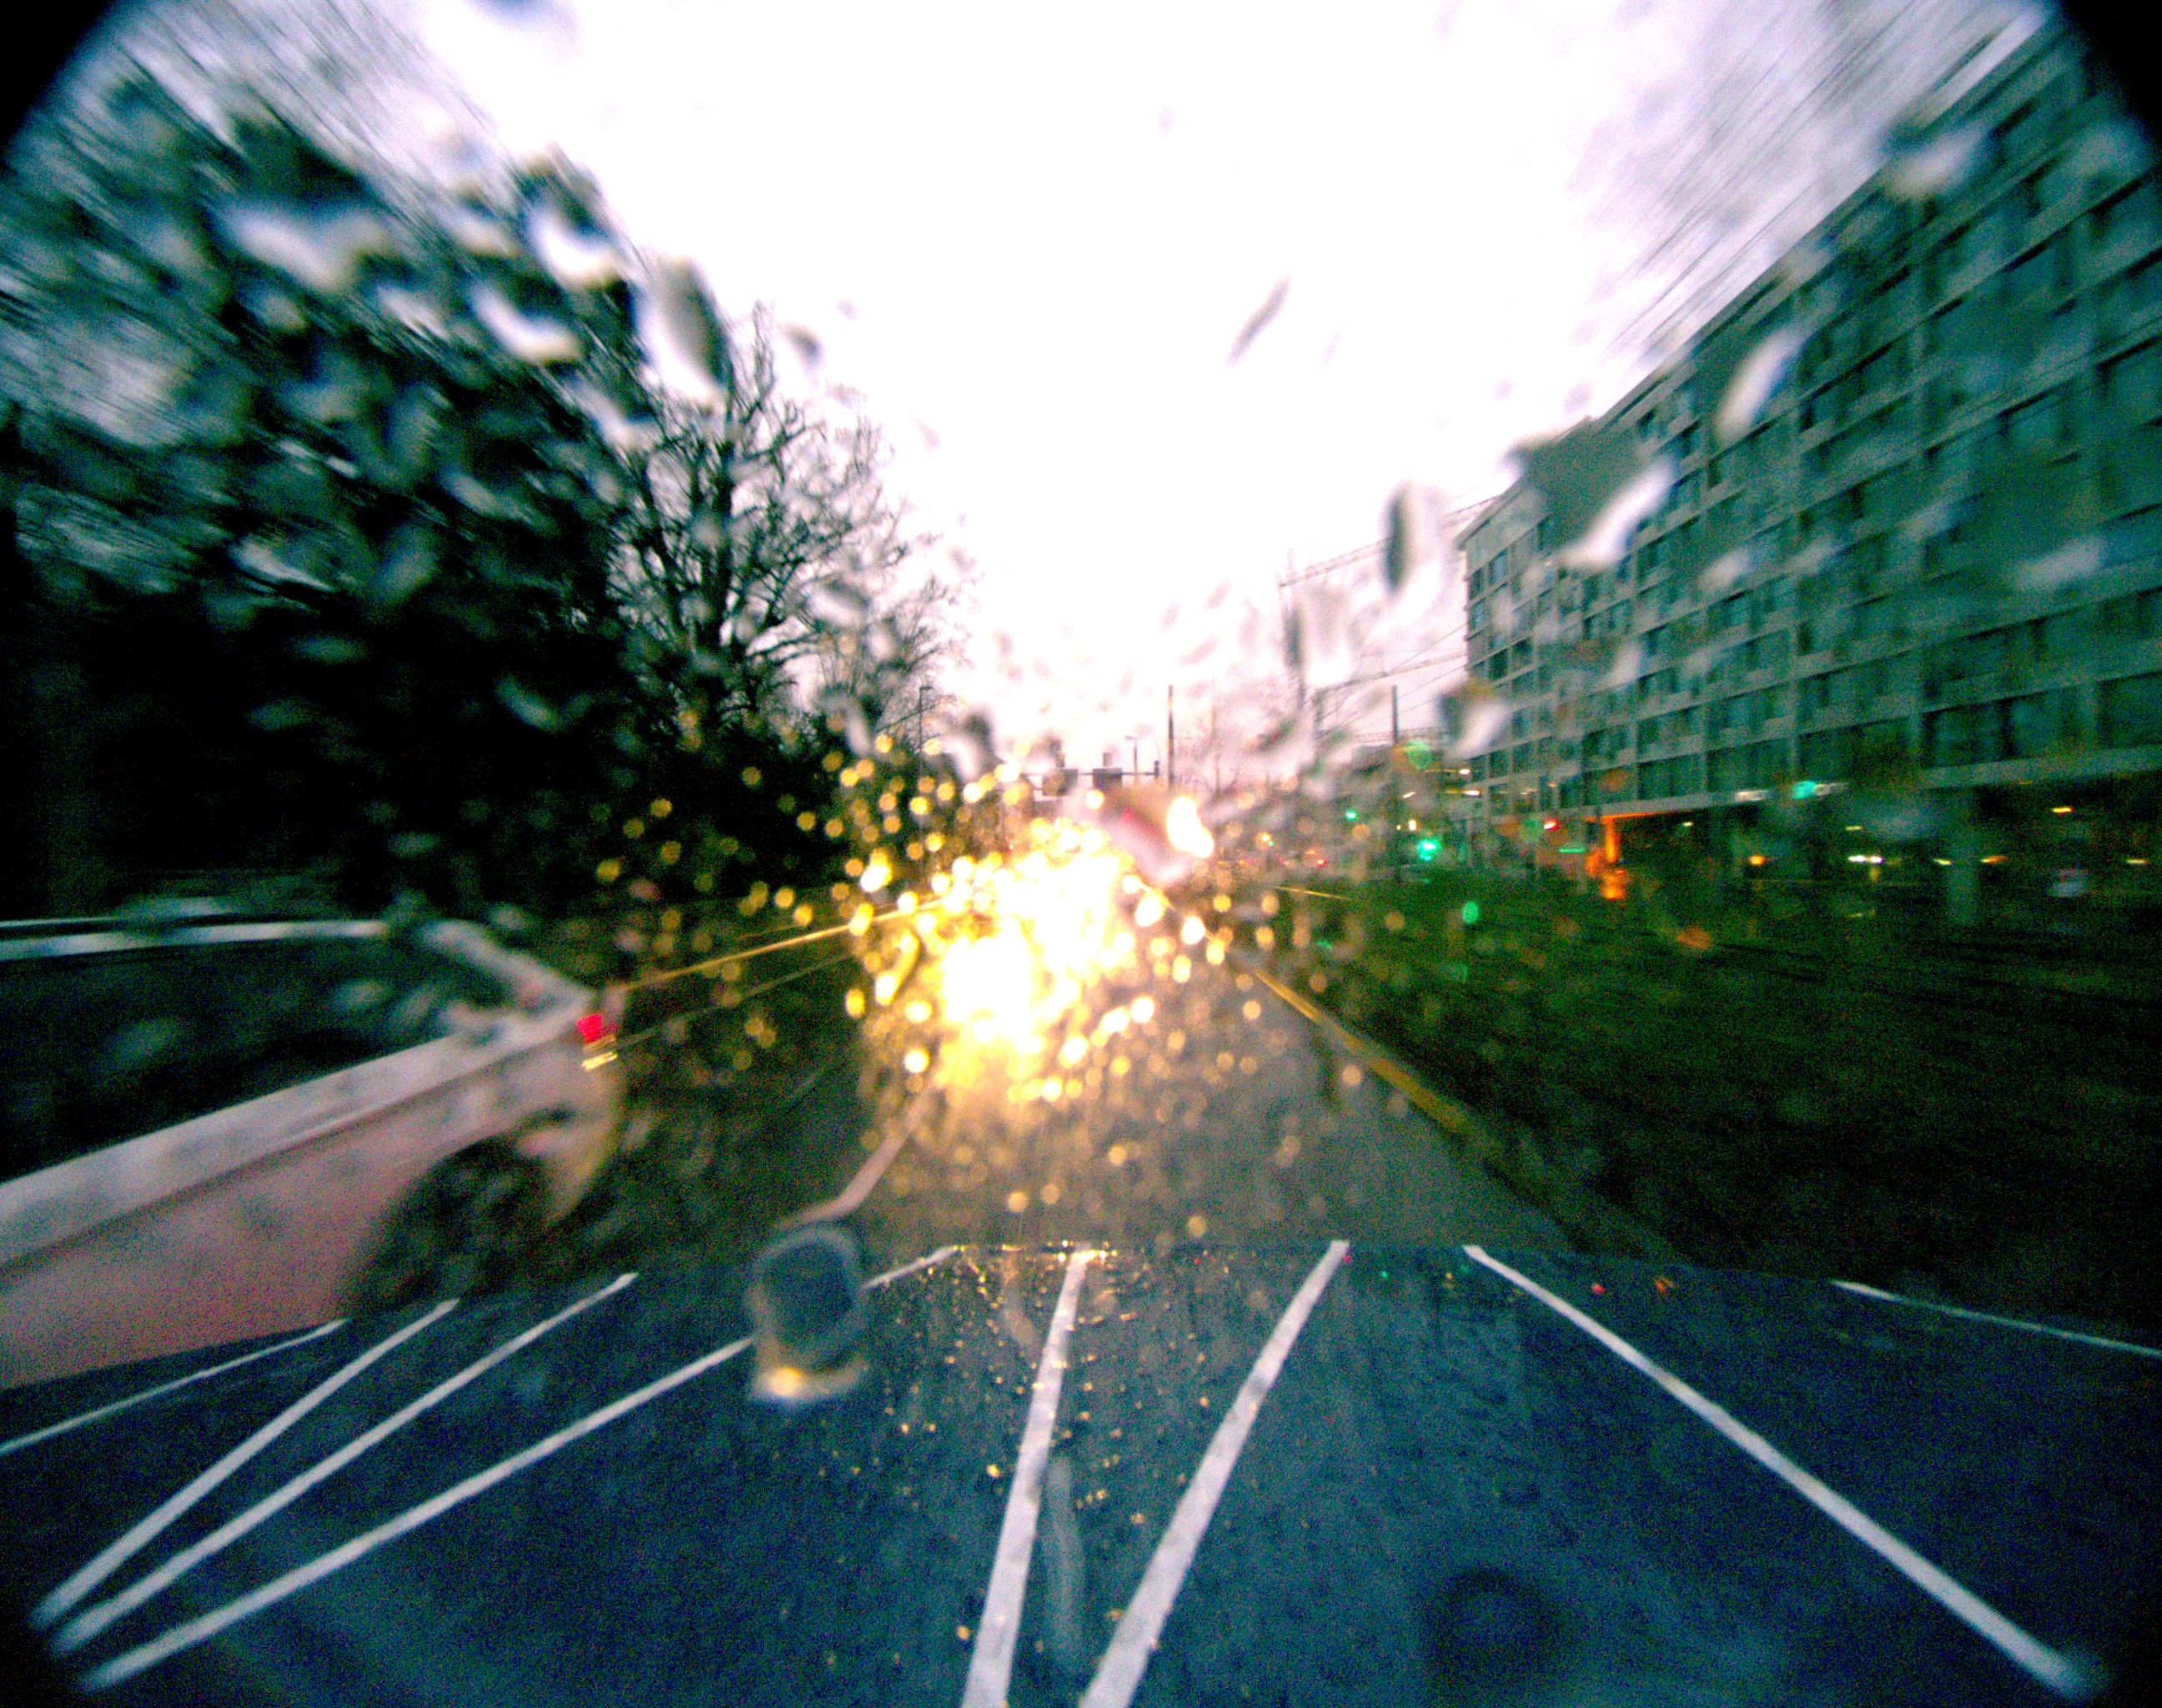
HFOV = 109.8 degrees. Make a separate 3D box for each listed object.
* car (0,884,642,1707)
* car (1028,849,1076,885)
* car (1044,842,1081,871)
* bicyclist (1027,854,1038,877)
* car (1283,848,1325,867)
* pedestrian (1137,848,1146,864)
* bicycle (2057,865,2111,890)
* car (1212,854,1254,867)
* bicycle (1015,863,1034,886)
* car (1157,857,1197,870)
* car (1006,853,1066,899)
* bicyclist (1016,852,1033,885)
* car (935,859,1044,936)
[{"bbox_3d":[-2.884,0.916,0.821,1.867,1.547,4.938,0,0,1],"label":"car"},{"bbox_3d":[-1.434,0.625,39.434,2.073,1.618,4.268,-3,1,2],"label":"car"},{"bbox_3d":[-1.085,0.150,47.206,1.998,1.618,4.268,-3,0,2],"label":"car"},{"bbox_3d":[-3.611,0.841,56.127,0.691,1.675,0.593,-3,1,1],"label":"bicyclist"},{"bbox_3d":[20.267,0.306,69.150,2.087,1.659,5.041,0,0,-3],"label":"car"},{"bbox_3d":[6.964,0.262,87.075,0.768,1.794,0.711,-2,1,21],"label":"pedestrian"},{"bbox_3d":[36.891,0.876,27.960,1.349,0.849,0.465,-3,1,0],"label":"bicycle"},{"bbox_3d":[15.616,0.691,78.354,1.821,1.300,3.989,-1,0,-40],"label":"car"},{"bbox_3d":[-3.884,1.381,52.479,0.967,1.442,3.389,-3,1,0],"label":"bicycle"},{"bbox_3d":[10.332,1.033,82.242,4.252,1.392,2.113,0,0,6],"label":"car"},{"bbox_3d":[-1.734,0.812,30.740,2.073,1.618,4.267,-3,1,0],"label":"car"},{"bbox_3d":[-3.895,1.001,52.511,0.967,2.210,0.935,-3,1,0],"label":"bicyclist"},{"bbox_3d":[-1.993,0.912,17.778,1.886,1.552,4.171,0,0,2],"label":"car"}]
